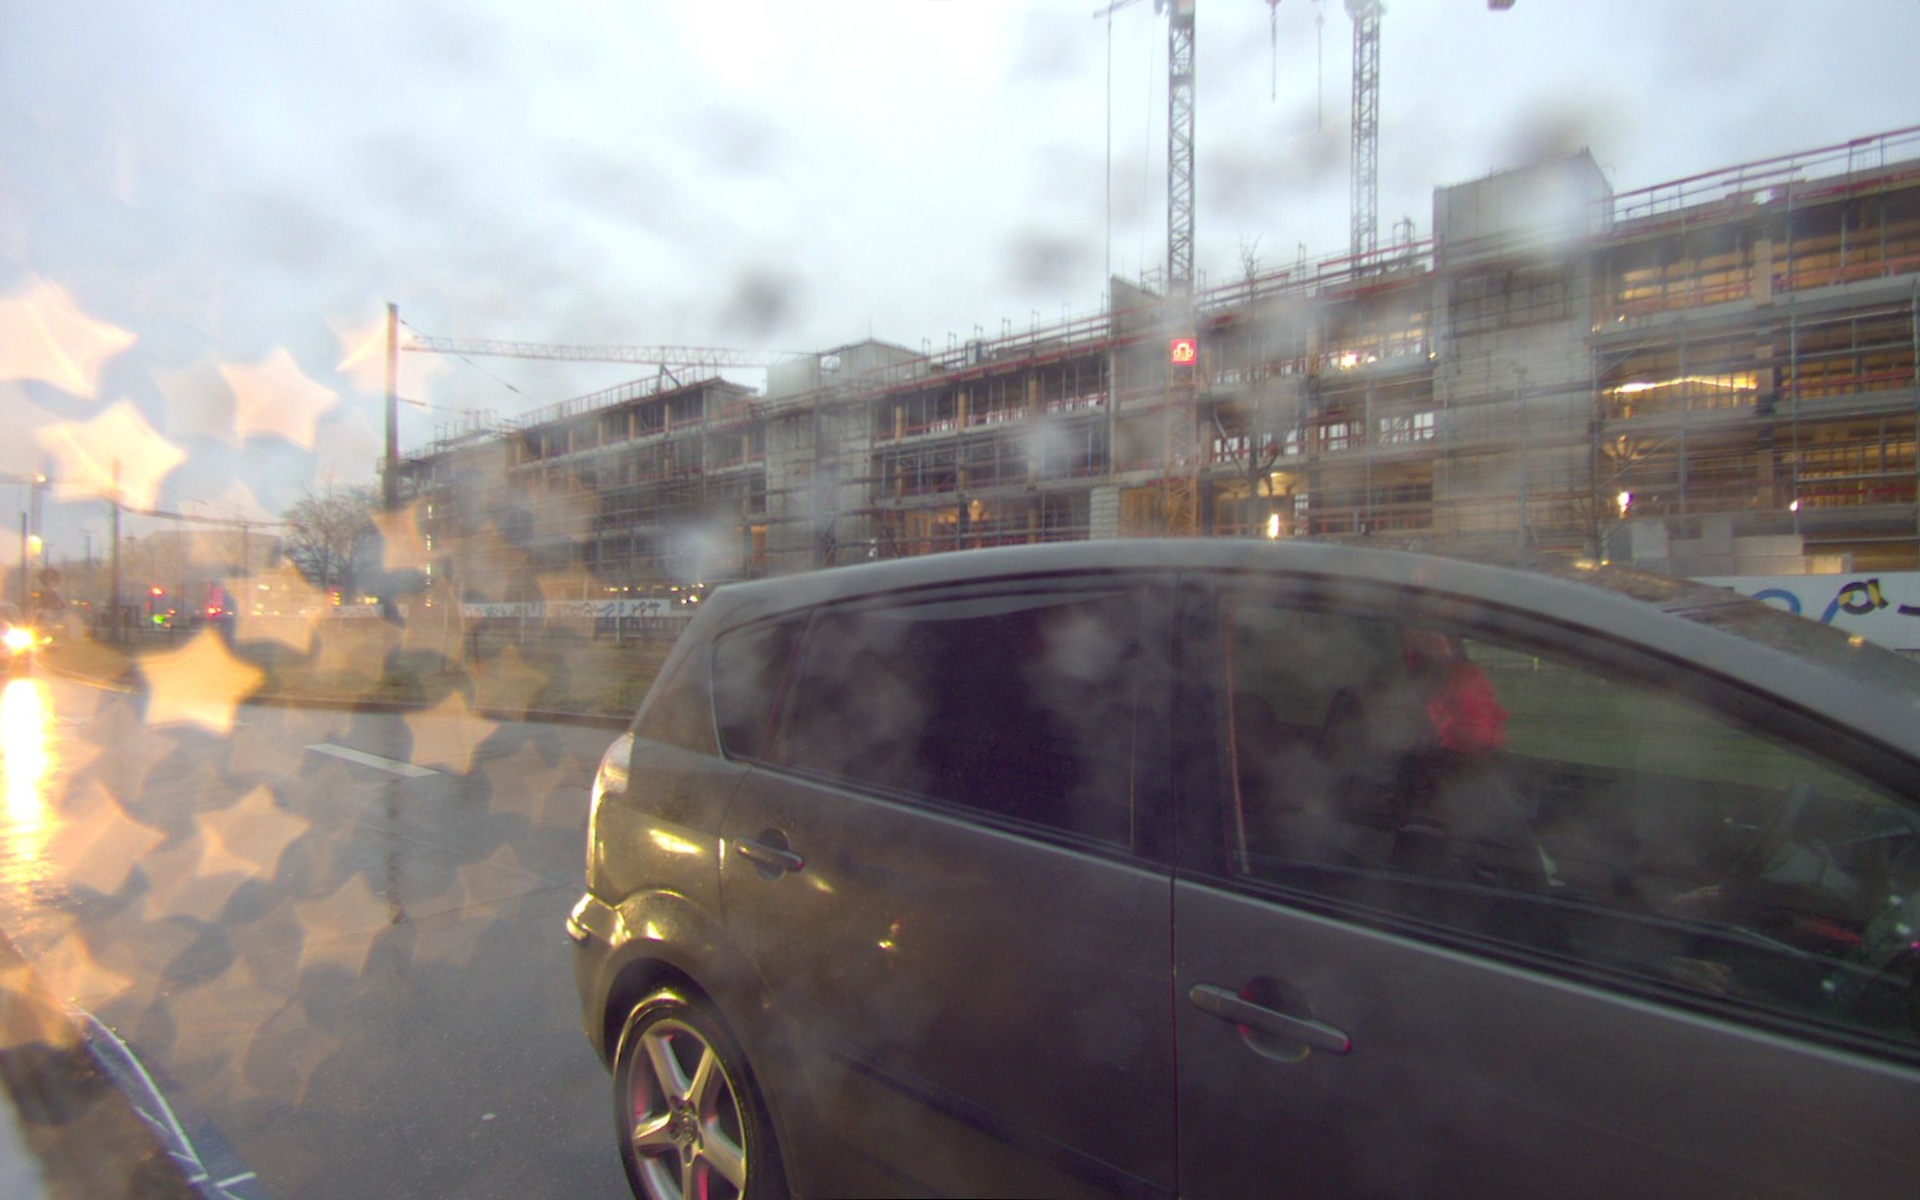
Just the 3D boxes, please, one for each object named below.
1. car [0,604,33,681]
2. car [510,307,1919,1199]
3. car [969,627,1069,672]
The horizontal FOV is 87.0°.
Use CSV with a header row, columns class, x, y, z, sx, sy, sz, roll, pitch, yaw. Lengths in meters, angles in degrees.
class,x,y,z,sx,sy,sz,roll,pitch,yaw
car,-23.745,0.998,24.321,4.000,1.746,1.833,-1,0,43
car,1.018,0.549,1.835,3.996,1.606,1.742,-1,0,39
car,2.598,2.146,44.676,3.994,1.785,1.975,-1,0,38
